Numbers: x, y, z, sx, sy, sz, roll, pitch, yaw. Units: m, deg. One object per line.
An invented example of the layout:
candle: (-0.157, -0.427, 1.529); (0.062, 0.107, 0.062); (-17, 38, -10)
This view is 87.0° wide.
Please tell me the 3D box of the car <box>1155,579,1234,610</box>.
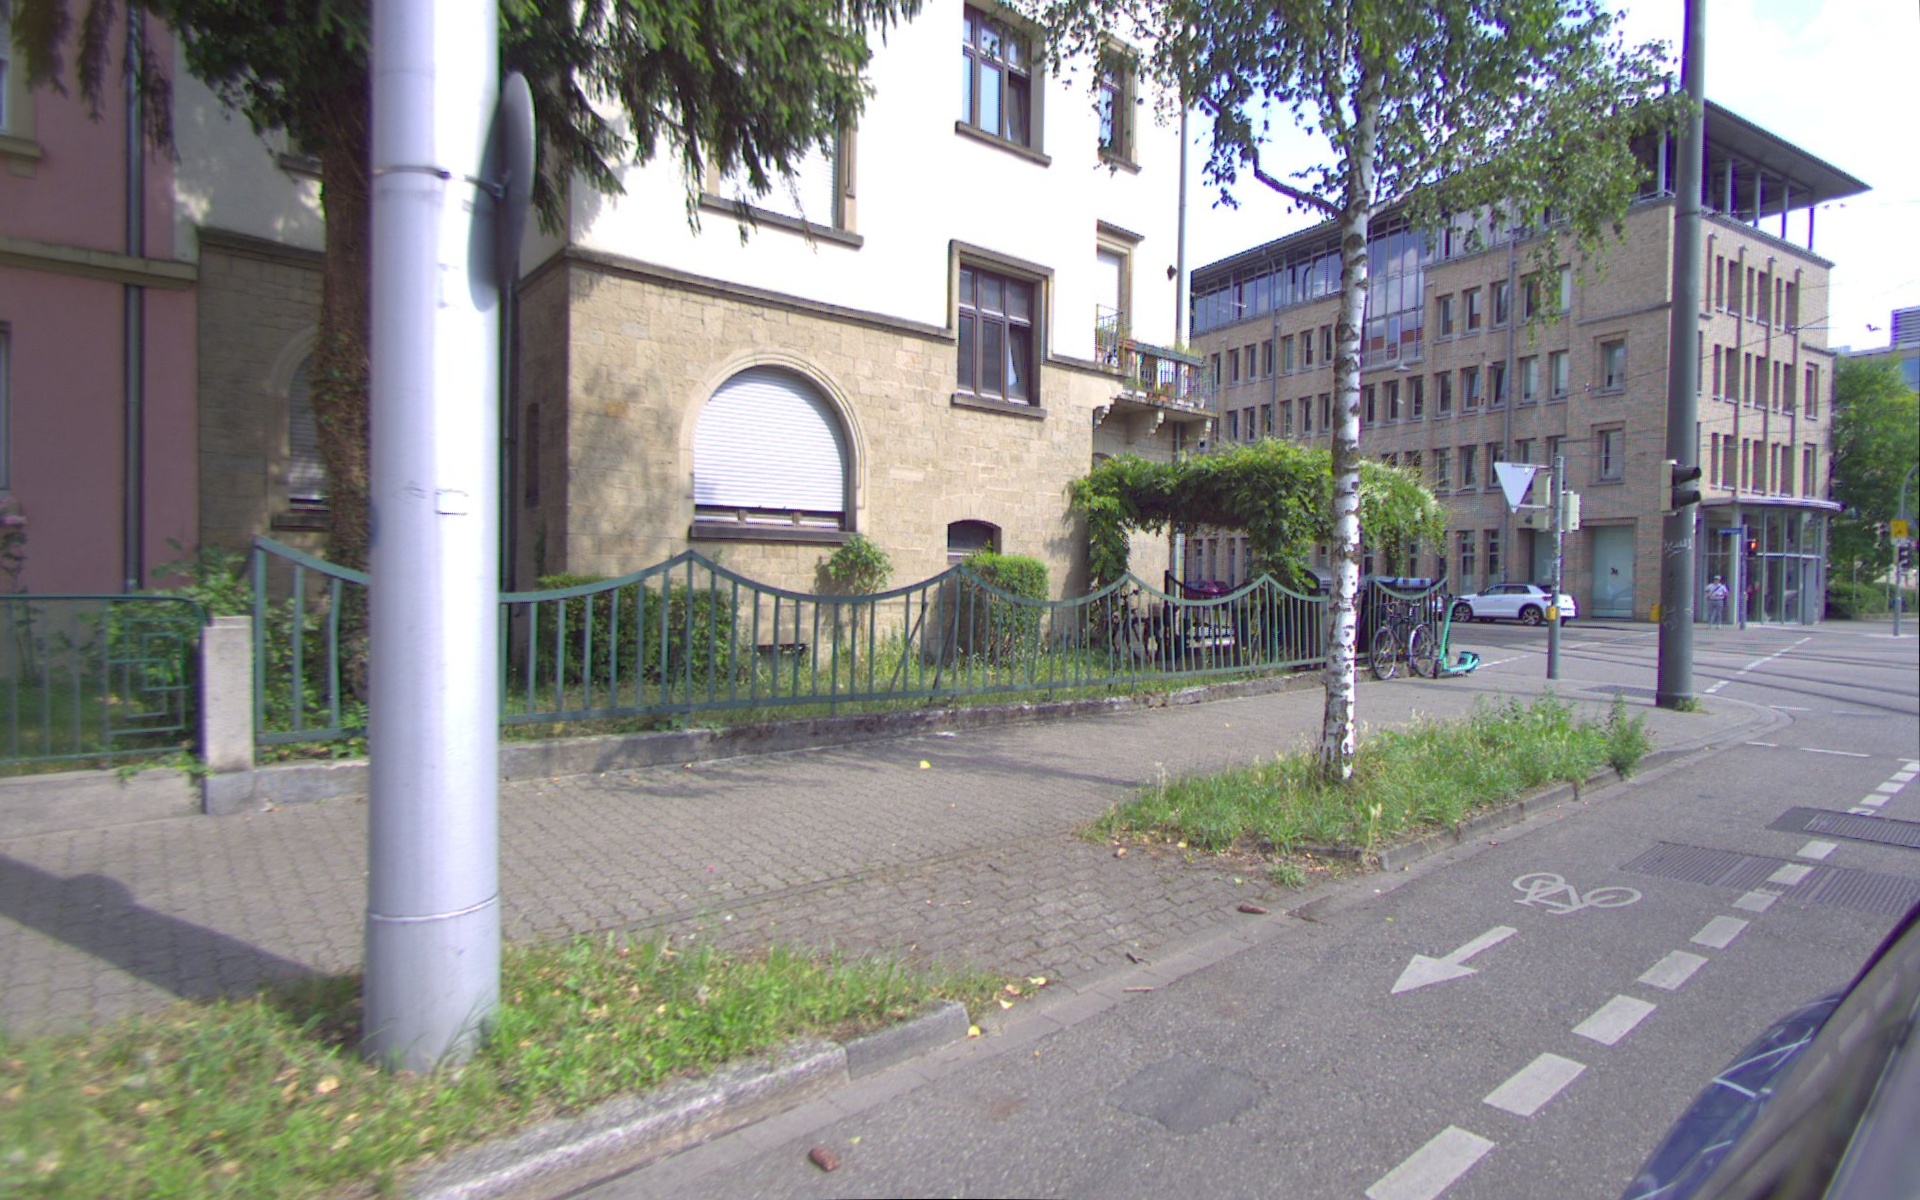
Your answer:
car: (11.902, -0.308, 51.633); (1.643, 1.440, 4.005); (2, 1, -29)

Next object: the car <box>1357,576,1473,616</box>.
car: (18.118, -0.172, 40.492); (1.643, 1.440, 4.005); (2, 1, -29)

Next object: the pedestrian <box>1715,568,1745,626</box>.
pedestrian: (25.570, -0.110, 33.615); (0.732, 1.866, 0.797); (1, 1, 35)

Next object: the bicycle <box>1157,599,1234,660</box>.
bicycle: (3.790, 0.459, 16.336); (0.445, 0.911, 1.169); (0, 2, -40)

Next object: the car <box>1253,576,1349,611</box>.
car: (15.301, -0.304, 45.632); (1.643, 1.440, 4.005); (2, 1, -29)

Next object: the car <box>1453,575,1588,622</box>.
car: (20.220, -0.086, 36.664); (1.643, 1.566, 4.005); (1, 1, -29)

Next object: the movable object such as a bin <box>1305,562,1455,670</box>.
movable object such as a bin: (6.356, 0.206, 15.313); (1.964, 1.511, 1.305); (0, 2, -39)

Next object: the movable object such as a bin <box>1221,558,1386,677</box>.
movable object such as a bin: (4.744, 0.202, 13.950); (1.964, 1.511, 1.305); (0, 2, -39)

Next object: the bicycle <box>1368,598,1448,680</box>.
bicycle: (6.084, 0.509, 13.717); (1.455, 1.034, 0.350); (0, 4, -41)

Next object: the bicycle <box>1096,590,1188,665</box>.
bicycle: (2.619, 0.376, 14.661); (0.445, 1.014, 1.314); (0, 2, -40)

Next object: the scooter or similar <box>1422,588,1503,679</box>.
scooter or similar: (7.019, 0.443, 14.121); (1.166, 1.193, 0.522); (0, 4, -39)
